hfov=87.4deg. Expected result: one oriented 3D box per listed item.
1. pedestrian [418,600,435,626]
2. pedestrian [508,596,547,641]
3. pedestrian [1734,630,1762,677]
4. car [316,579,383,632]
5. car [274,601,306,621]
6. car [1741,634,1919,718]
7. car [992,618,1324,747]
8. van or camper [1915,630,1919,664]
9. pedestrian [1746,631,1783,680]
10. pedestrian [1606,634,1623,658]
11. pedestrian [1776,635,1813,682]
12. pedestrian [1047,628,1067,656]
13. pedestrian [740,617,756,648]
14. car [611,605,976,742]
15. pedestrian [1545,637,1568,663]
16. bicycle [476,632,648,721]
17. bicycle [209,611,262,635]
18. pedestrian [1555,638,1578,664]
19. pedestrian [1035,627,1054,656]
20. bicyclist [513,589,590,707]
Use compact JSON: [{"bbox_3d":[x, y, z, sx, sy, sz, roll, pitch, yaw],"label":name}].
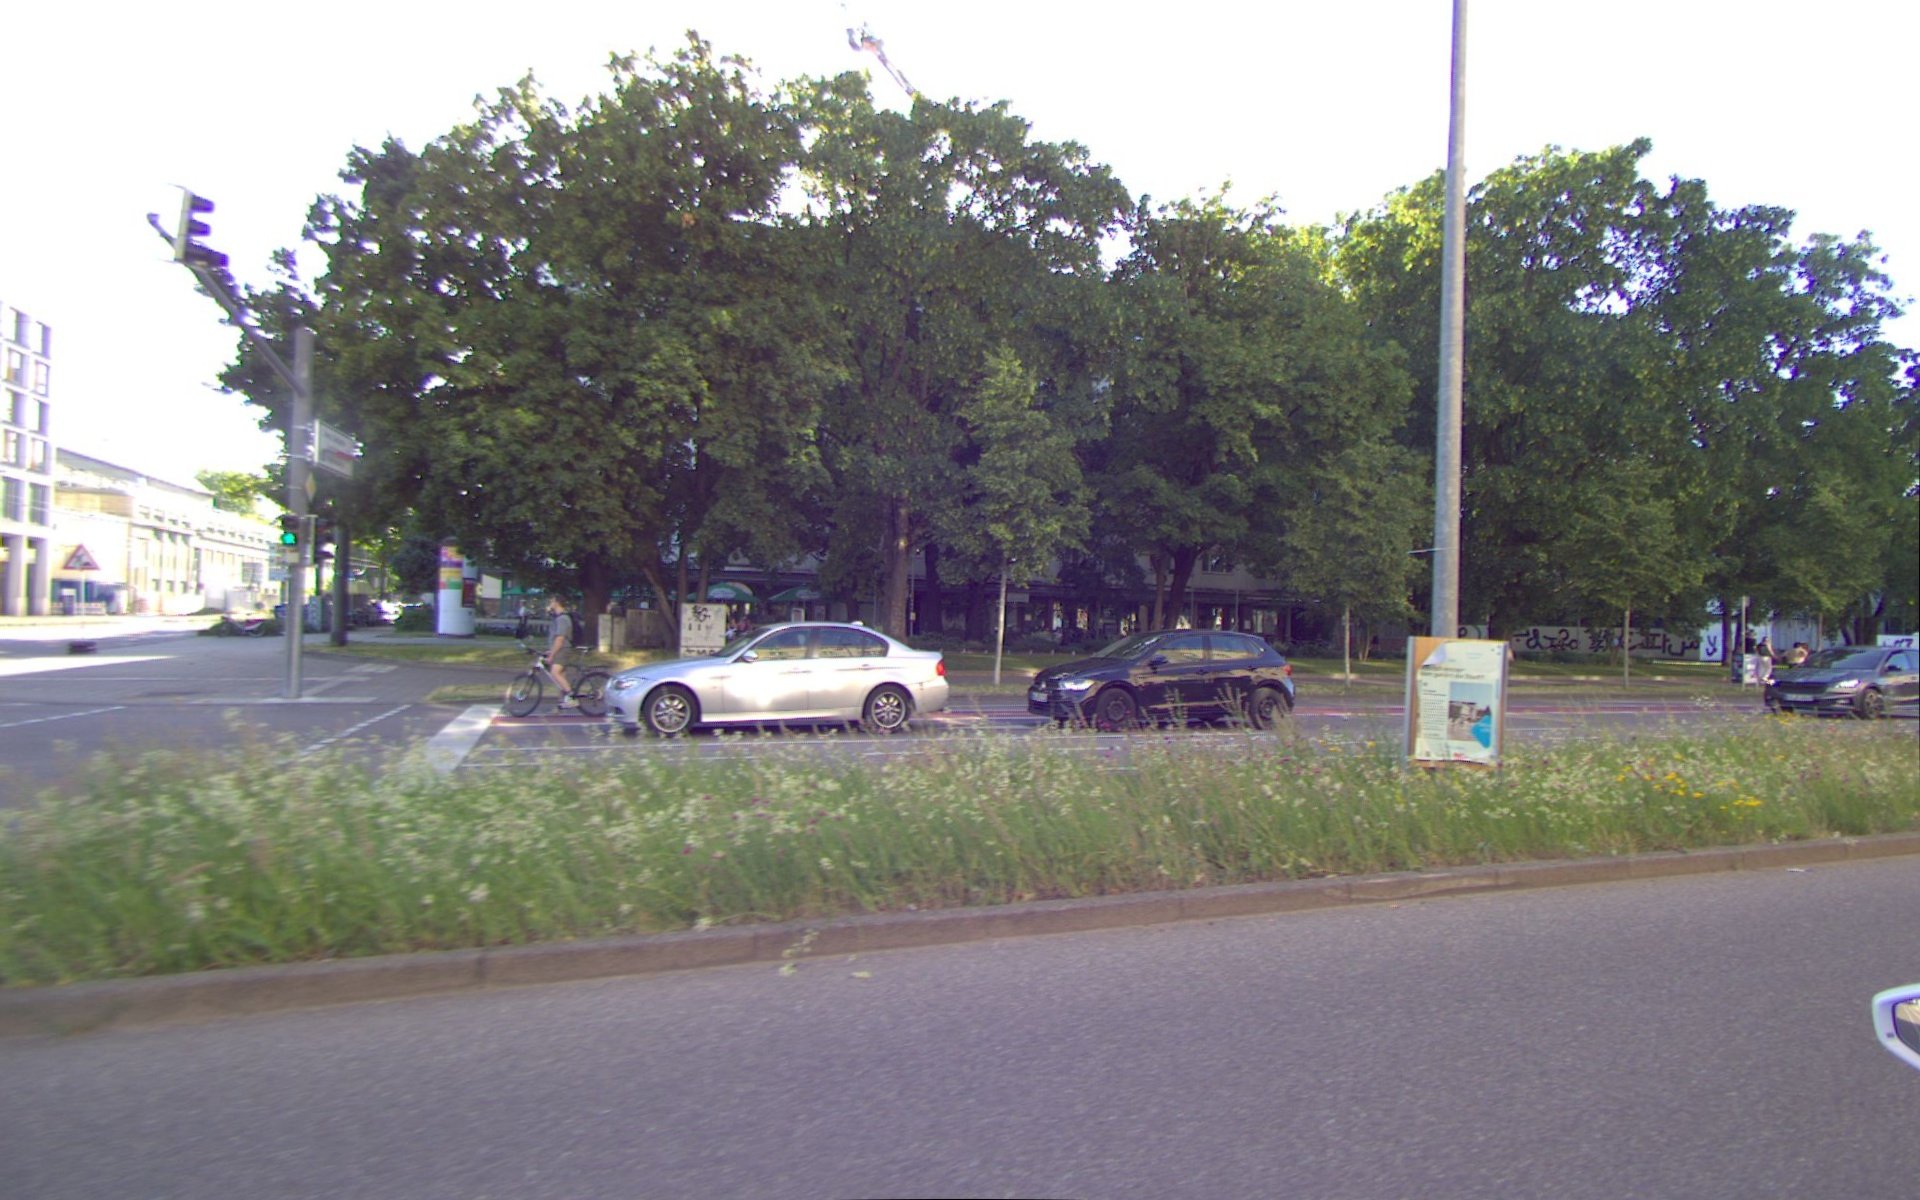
[{"bbox_3d":[-36.526,0.909,68.765,0.778,1.763,0.884,2,-1,-39],"label":"pedestrian"},{"bbox_3d":[-17.635,0.757,40.954,1.192,1.763,0.894,1,-1,-5],"label":"pedestrian"},{"bbox_3d":[29.602,2.010,37.735,0.644,1.763,0.524,2,-1,-16],"label":"pedestrian"},{"bbox_3d":[-36.421,0.360,60.111,2.563,2.991,5.062,2,-1,-22],"label":"car"},{"bbox_3d":[-70.538,1.203,105.819,1.971,1.996,3.979,2,-1,-22],"label":"car"},{"bbox_3d":[18.720,1.557,20.983,3.999,1.585,1.991,2,-1,-20],"label":"car"},{"bbox_3d":[2.938,1.181,15.019,4.480,1.698,1.991,2,-1,-20],"label":"car"},{"bbox_3d":[59.644,2.810,58.337,2.222,2.040,5.659,3,-2,-18],"label":"van or camper"},{"bbox_3d":[29.642,2.040,37.024,0.748,1.763,0.771,2,-1,-16],"label":"pedestrian"},{"bbox_3d":[45.761,3.191,70.244,0.732,1.662,0.724,2,-1,-14],"label":"pedestrian"},{"bbox_3d":[30.113,2.109,36.234,0.714,1.662,0.742,2,-1,-16],"label":"pedestrian"},{"bbox_3d":[4.822,2.088,49.797,0.704,1.357,0.826,2,-1,-17],"label":"pedestrian"},{"bbox_3d":[-9.331,1.428,44.172,0.590,1.357,0.731,2,-1,-17],"label":"pedestrian"},{"bbox_3d":[-2.237,0.929,13.324,4.480,1.581,1.991,2,-1,-20],"label":"car"},{"bbox_3d":[36.503,3.055,61.486,0.883,1.560,0.899,2,-1,-27],"label":"pedestrian"},{"bbox_3d":[-5.875,1.126,14.944,2.206,1.256,0.778,1,-1,-6],"label":"bicycle"},{"bbox_3d":[-28.466,0.897,39.480,1.586,0.900,0.764,2,-1,-29],"label":"bicycle"},{"bbox_3d":[37.372,3.116,61.888,0.883,1.560,0.899,2,-1,-27],"label":"pedestrian"},{"bbox_3d":[4.169,2.042,49.556,0.654,1.357,0.905,2,-1,-17],"label":"pedestrian"},{"bbox_3d":[-6.055,0.711,14.935,0.823,1.701,0.783,1,-2,-6],"label":"bicyclist"}]
